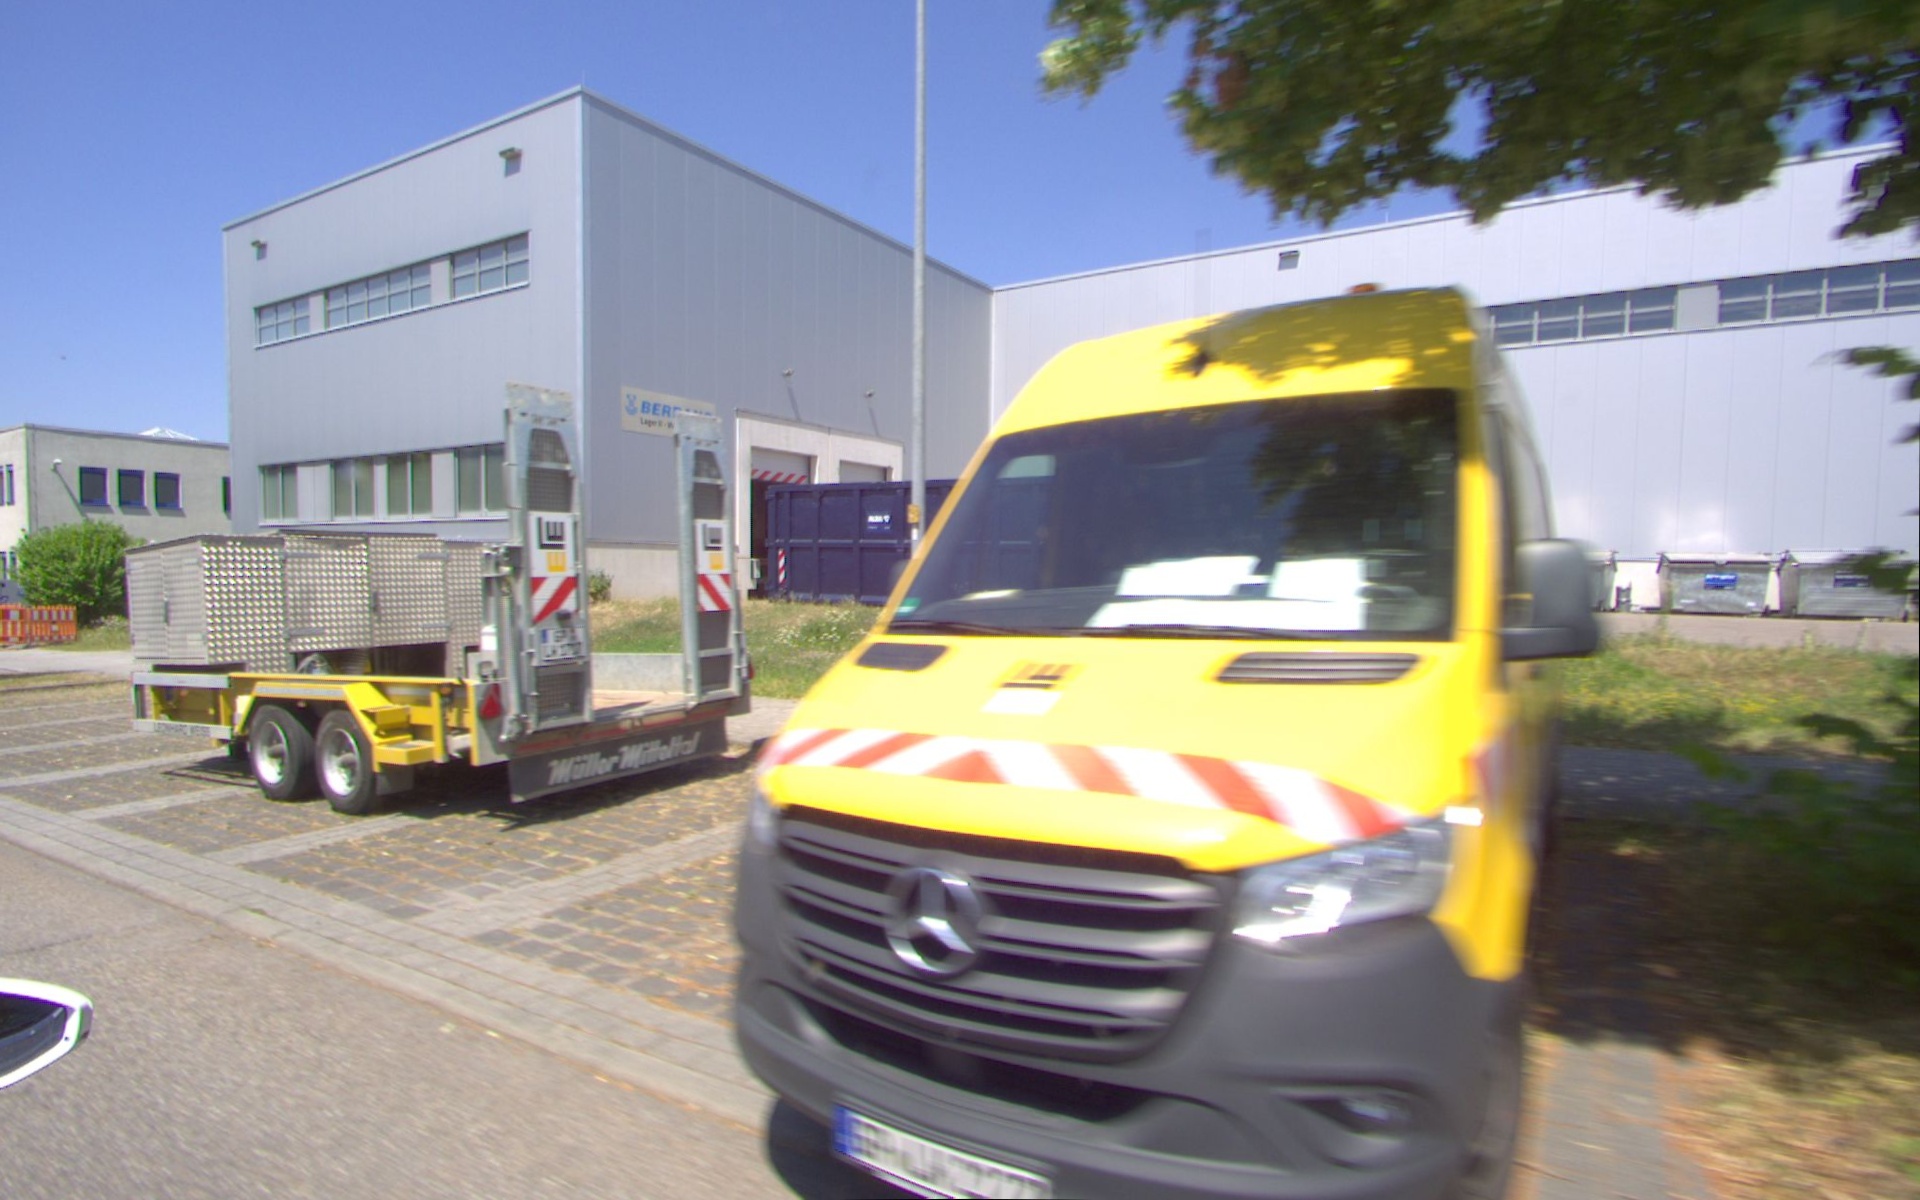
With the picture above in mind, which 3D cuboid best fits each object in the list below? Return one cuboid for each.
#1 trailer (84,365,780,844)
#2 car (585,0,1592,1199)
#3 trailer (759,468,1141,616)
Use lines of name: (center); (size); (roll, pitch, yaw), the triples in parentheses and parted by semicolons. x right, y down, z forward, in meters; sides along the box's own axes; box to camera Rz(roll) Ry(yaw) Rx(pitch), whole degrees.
trailer: (-4.547, 0.001, 8.550); (5.435, 2.897, 2.652); (0, 3, 29)
car: (1.508, -0.053, 4.392); (1.972, 2.772, 5.760); (2, 5, 33)
trailer: (-0.403, -1.160, 19.793); (7.310, 2.454, 2.651); (4, 2, 35)
